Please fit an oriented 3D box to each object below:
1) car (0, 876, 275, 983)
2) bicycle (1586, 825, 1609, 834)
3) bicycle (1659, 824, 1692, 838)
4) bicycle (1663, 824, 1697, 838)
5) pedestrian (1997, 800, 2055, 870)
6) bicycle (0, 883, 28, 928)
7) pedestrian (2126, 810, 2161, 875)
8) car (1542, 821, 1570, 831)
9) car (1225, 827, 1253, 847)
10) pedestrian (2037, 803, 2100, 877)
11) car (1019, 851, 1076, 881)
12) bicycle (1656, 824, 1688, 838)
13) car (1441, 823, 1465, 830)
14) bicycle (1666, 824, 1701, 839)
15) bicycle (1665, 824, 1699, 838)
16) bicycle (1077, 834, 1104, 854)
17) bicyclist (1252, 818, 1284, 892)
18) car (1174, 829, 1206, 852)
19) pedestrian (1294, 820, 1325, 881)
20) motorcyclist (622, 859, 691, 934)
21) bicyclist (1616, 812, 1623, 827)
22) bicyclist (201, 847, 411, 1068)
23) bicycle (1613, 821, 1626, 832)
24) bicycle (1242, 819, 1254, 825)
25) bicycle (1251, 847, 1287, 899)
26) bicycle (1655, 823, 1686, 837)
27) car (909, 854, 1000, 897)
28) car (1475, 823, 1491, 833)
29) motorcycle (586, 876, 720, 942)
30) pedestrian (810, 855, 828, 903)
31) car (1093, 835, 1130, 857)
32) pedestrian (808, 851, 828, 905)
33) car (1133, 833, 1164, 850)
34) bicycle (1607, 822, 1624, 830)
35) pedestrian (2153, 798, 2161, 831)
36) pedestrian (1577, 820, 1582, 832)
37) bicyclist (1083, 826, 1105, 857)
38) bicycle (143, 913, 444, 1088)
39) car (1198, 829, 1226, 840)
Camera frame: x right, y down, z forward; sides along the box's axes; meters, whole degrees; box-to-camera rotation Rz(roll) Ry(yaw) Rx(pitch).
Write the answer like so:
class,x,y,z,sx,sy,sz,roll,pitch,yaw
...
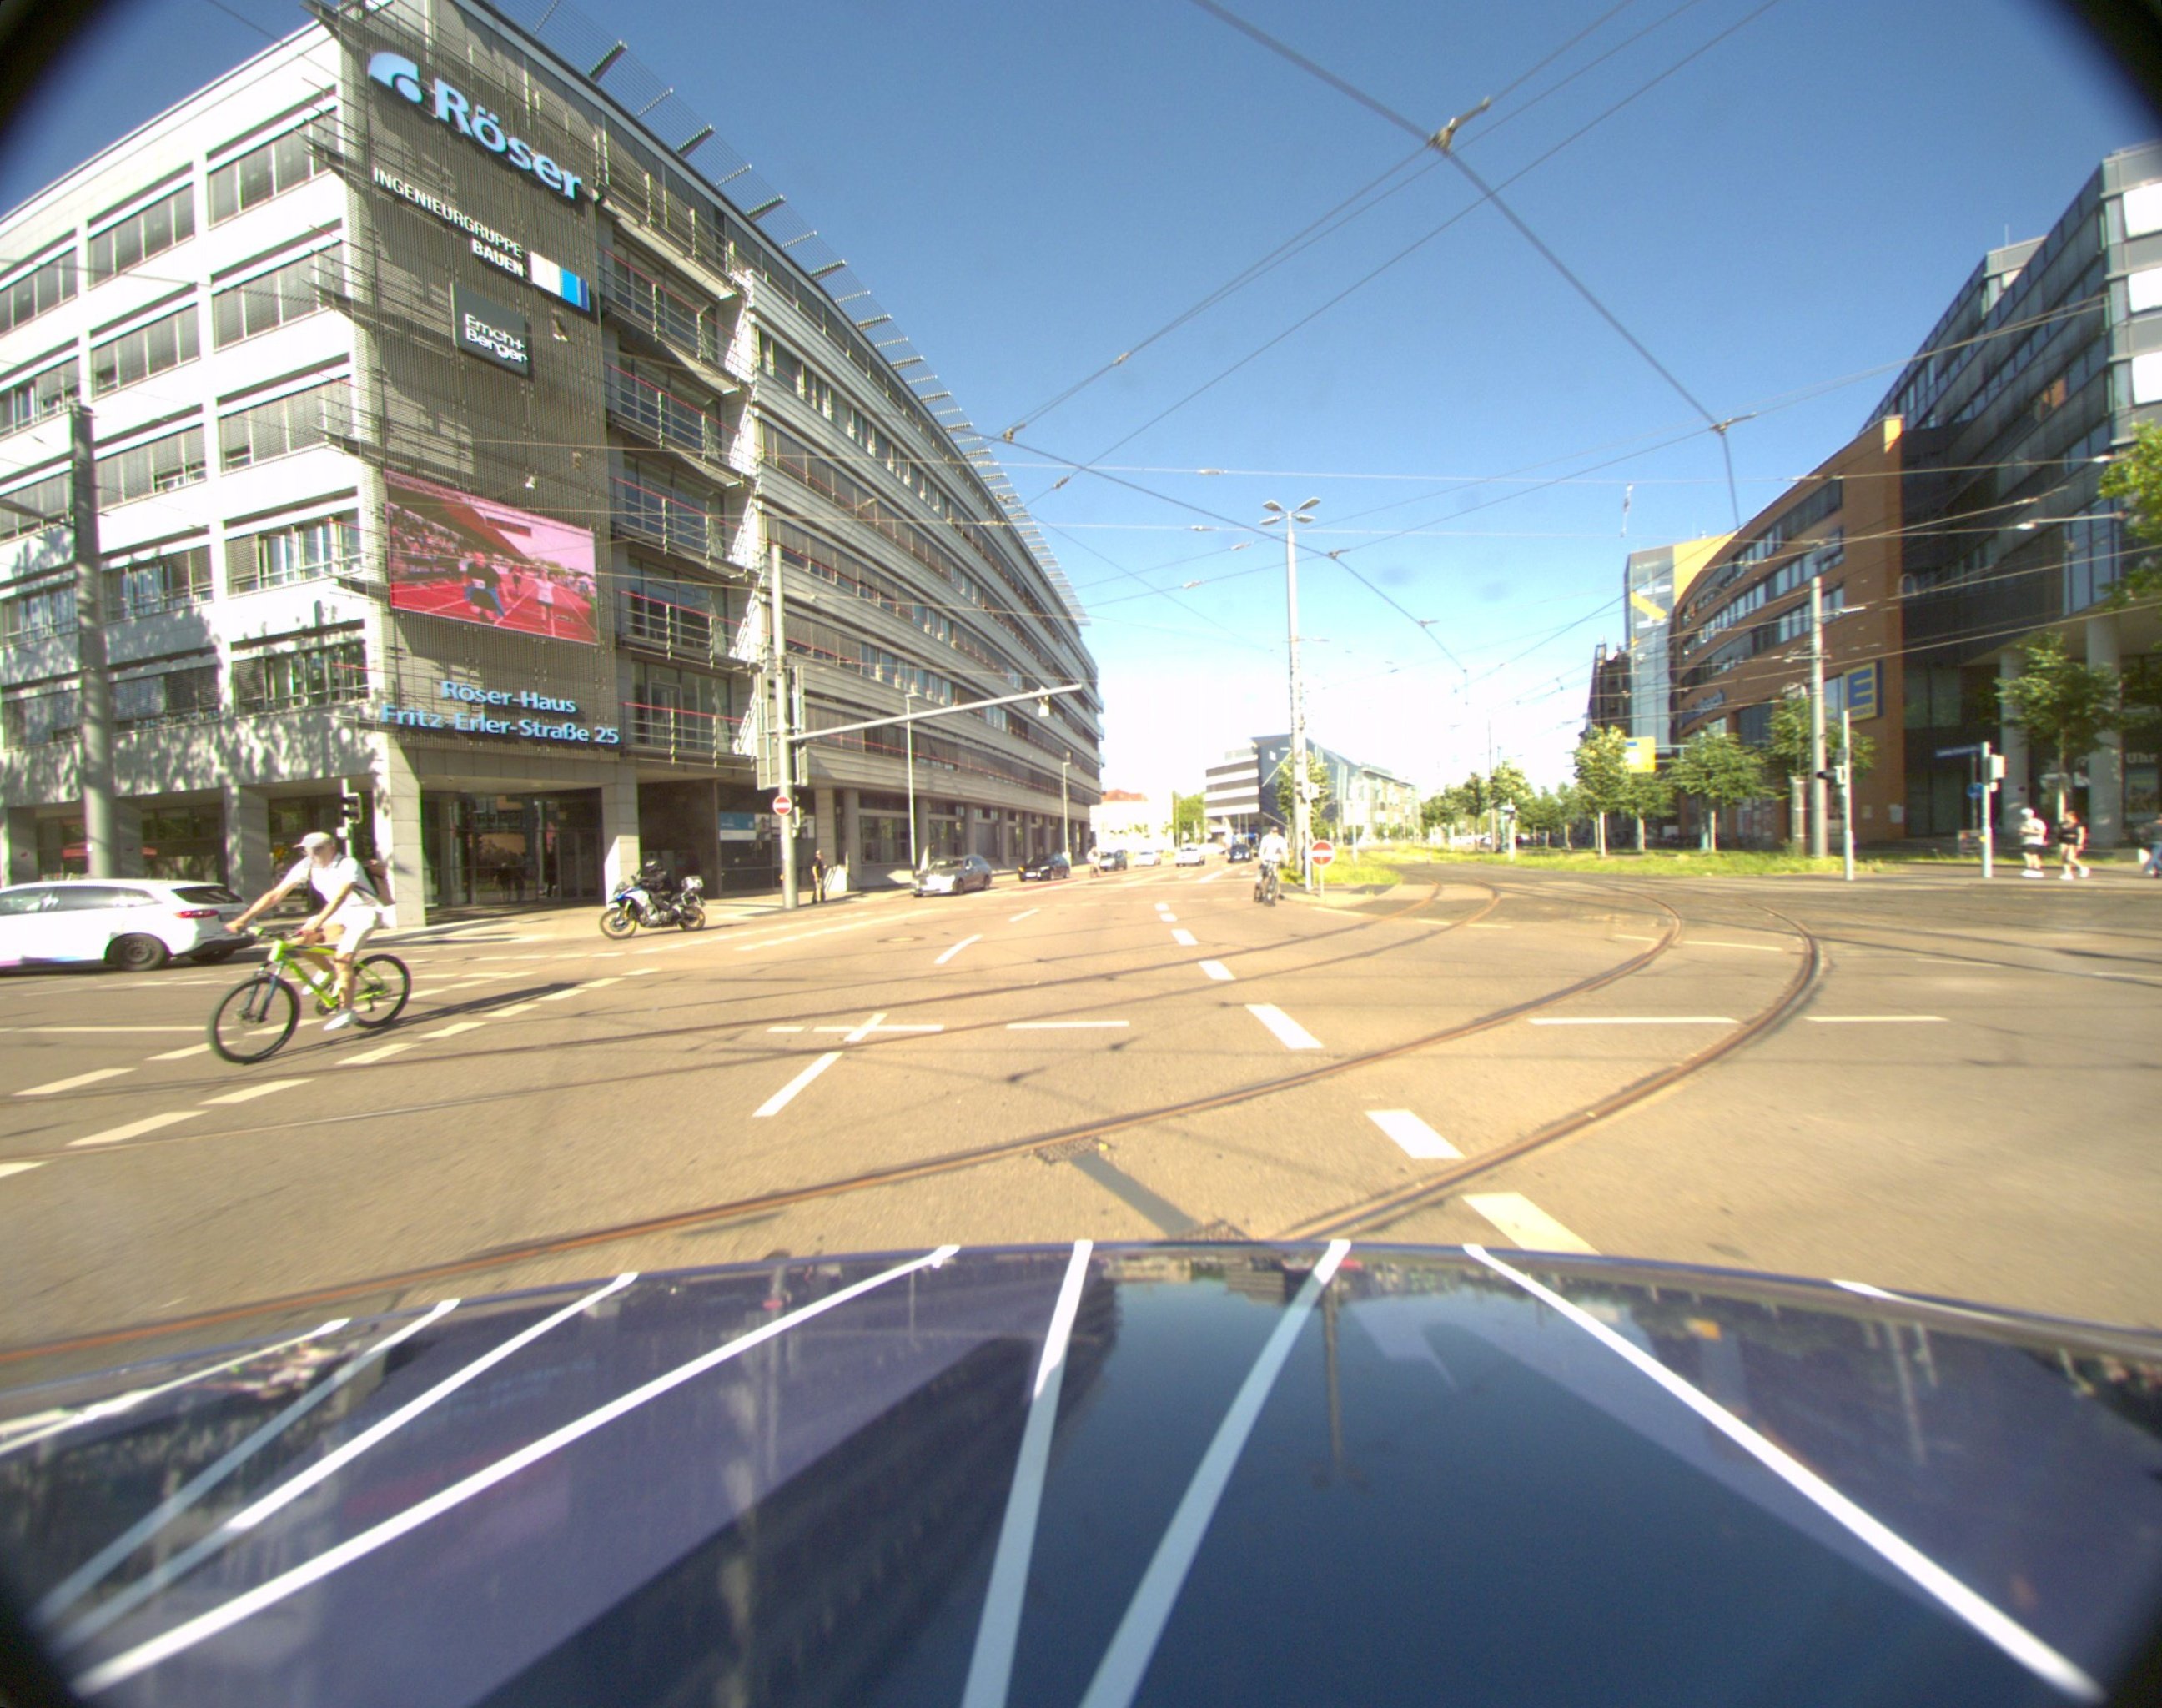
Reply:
class,x,y,z,sx,sy,sz,roll,pitch,yaw
car,-16.743,1.211,12.637,4.142,1.574,1.909,-1,-1,-21
bicycle,60.537,-2.847,89.045,2.175,0.949,0.493,-3,1,25
bicycle,53.179,-2.075,67.942,2.175,1.117,0.754,-3,1,25
bicycle,52.141,-1.981,66.169,2.175,1.117,0.754,-3,1,25
pedestrian,25.315,-0.507,20.369,0.762,1.820,0.625,-1,2,21
bicycle,-30.198,1.468,20.669,0.468,1.213,1.731,-1,2,11
pedestrian,30.149,-0.327,21.531,0.583,1.820,0.497,-3,2,-22
car,97.266,-5.720,155.580,5.260,2.002,2.224,-2,1,-21
car,12.979,-1.426,62.222,1.871,1.547,4.004,-2,1,17
pedestrian,24.715,-0.344,19.035,0.761,1.820,0.625,-1,2,25
car,-1.753,0.602,41.277,1.724,1.414,4.641,-2,1,15
bicycle,53.717,-2.107,69.065,2.175,1.117,0.754,-3,1,25
car,69.495,-5.124,141.960,3.990,1.084,2.003,-1,1,28
bicycle,50.628,-1.895,63.869,2.175,1.117,0.754,-3,1,25
bicycle,51.667,-1.986,65.373,2.175,1.117,0.754,-3,1,25
bicycle,0.541,-0.582,41.974,0.826,1.031,1.894,-3,1,22
bicyclist,4.353,0.015,17.740,0.619,1.660,1.020,-3,1,13
car,8.704,-1.102,60.223,1.871,1.621,4.342,-2,2,16
pedestrian,6.740,-0.115,22.422,0.671,1.743,0.769,-2,2,4
motorcyclist,-9.307,0.915,16.683,0.829,1.552,0.943,-2,2,31
bicyclist,48.528,-3.085,68.483,0.341,1.369,0.482,-2,3,15
bicyclist,-6.608,0.819,6.546,0.650,1.742,1.045,-2,1,2
bicycle,48.560,-2.492,68.515,0.353,0.921,1.896,-2,3,15
bicycle,27.022,-5.227,122.865,1.703,0.949,0.698,0,1,31
bicycle,4.399,0.407,17.825,0.688,1.063,2.699,-3,1,13
bicycle,55.855,-2.270,72.017,2.175,1.117,0.754,-3,1,25
car,-4.837,0.800,29.854,1.724,1.388,4.792,-2,1,14
car,57.353,-3.652,108.459,1.430,1.352,3.299,-2,1,19
motorcycle,-9.341,1.166,16.702,0.829,1.194,2.394,-2,2,31
pedestrian,-9.037,0.850,26.236,0.562,1.636,0.428,-1,1,-20
car,2.371,-0.660,57.592,1.724,1.516,4.403,-2,1,17
pedestrian,-8.892,0.786,25.708,0.609,1.788,0.638,-1,1,-20
car,6.178,-1.172,69.016,1.775,1.395,4.298,-4,0,19
bicycle,58.581,-3.035,83.271,1.447,0.814,0.446,-3,1,25
pedestrian,53.654,-1.949,37.461,0.507,1.615,0.788,-2,3,16
pedestrian,64.952,-3.621,98.916,0.490,1.510,0.650,-1,2,36
bicyclist,0.744,-0.722,42.469,0.807,1.683,1.052,-3,1,22
bicycle,-6.597,1.165,6.535,0.650,1.104,1.757,-2,2,2
car,24.069,-3.580,139.252,4.642,1.971,1.878,-1,2,28
